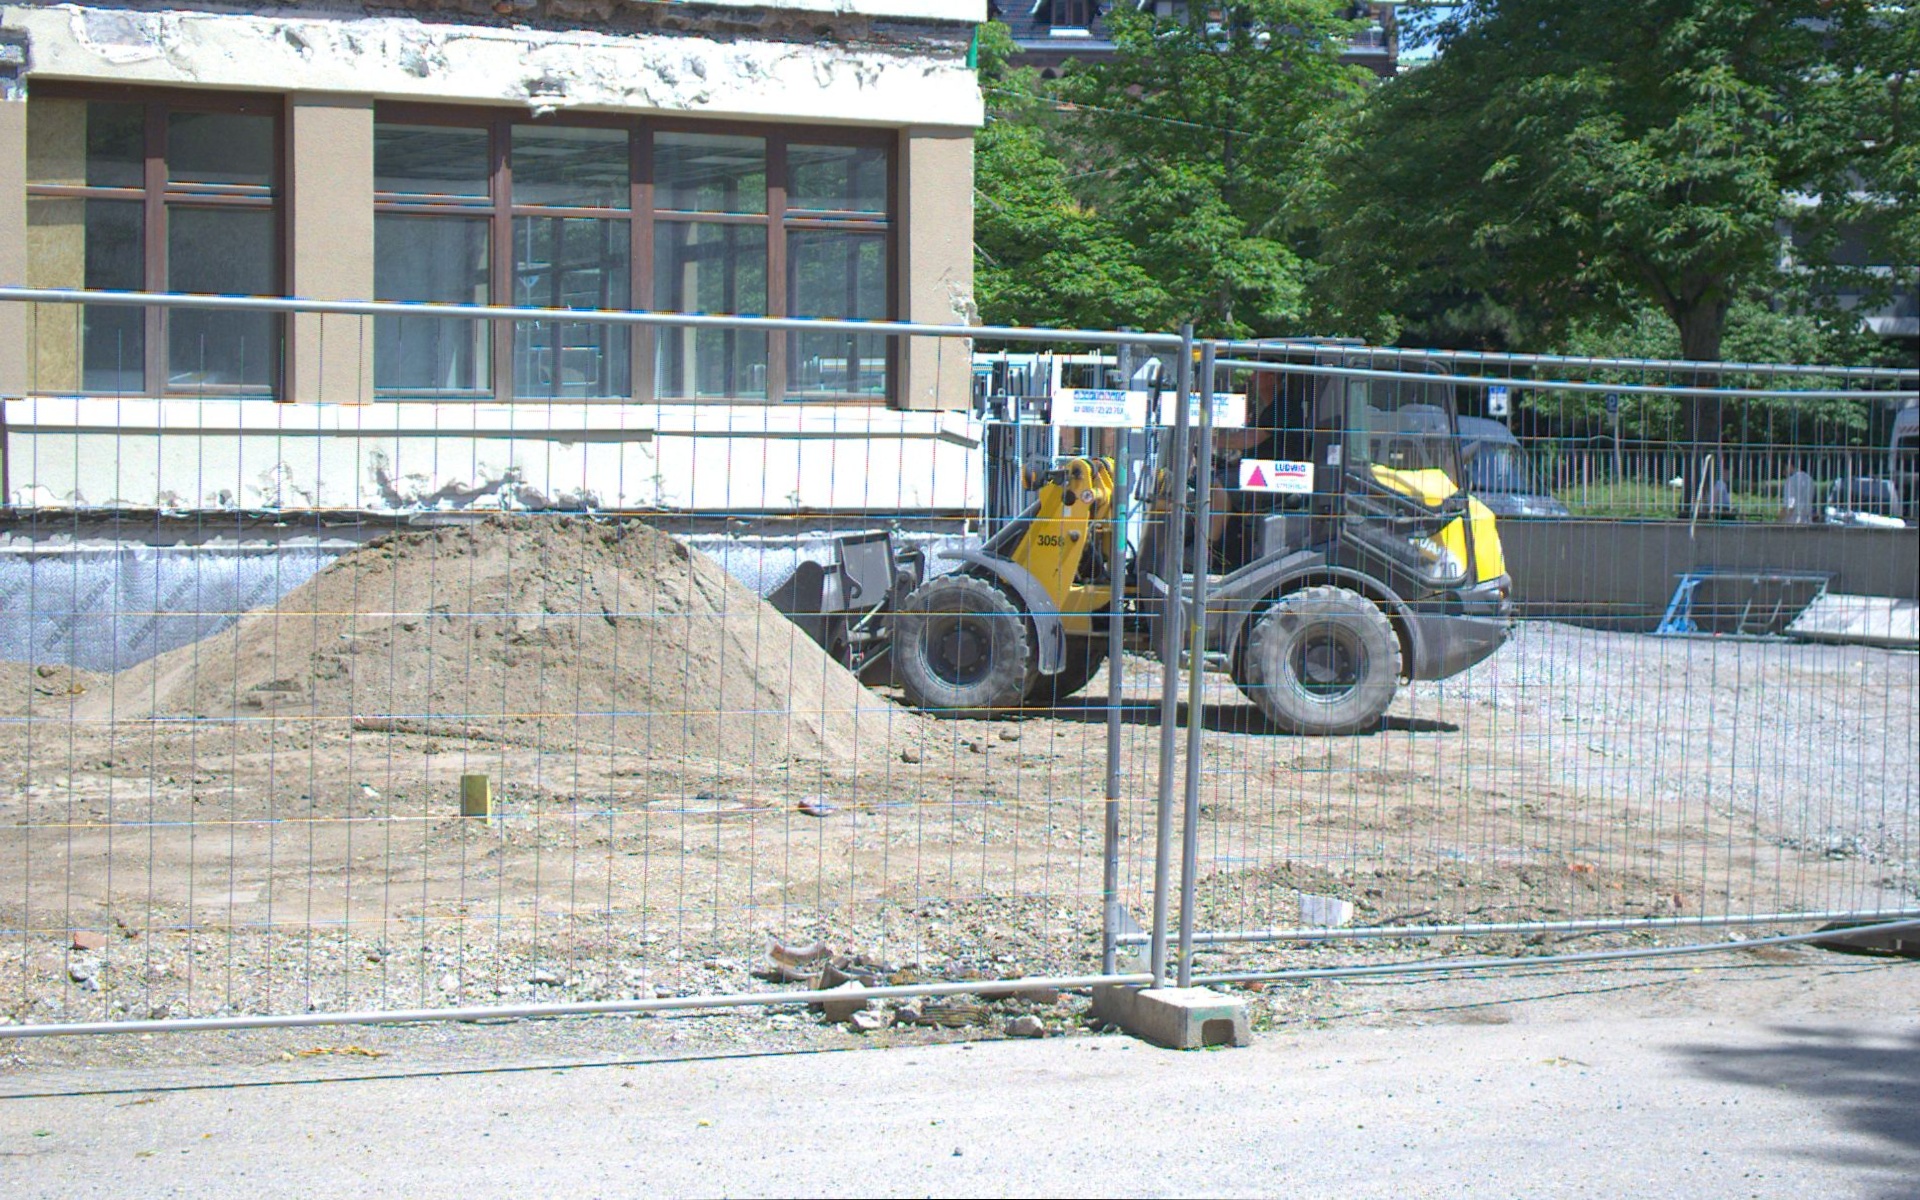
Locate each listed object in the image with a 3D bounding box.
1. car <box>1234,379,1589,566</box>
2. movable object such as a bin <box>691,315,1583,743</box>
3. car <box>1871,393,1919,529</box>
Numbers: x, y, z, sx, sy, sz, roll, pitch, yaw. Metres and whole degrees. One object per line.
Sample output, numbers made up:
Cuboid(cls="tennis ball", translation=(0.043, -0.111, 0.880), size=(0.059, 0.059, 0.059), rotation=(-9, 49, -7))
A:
Cuboid(cls="car", translation=(6.085, -1.734, 47.072), size=(1.993, 2.408, 5.244), rotation=(-1, 2, -31))
Cuboid(cls="movable object such as a bin", translation=(1.123, -0.497, 22.347), size=(5.403, 2.455, 2.368), rotation=(2, 3, 3))
Cuboid(cls="car", translation=(17.076, -2.377, 59.297), size=(2.186, 2.250, 4.864), rotation=(1, 2, 20))
